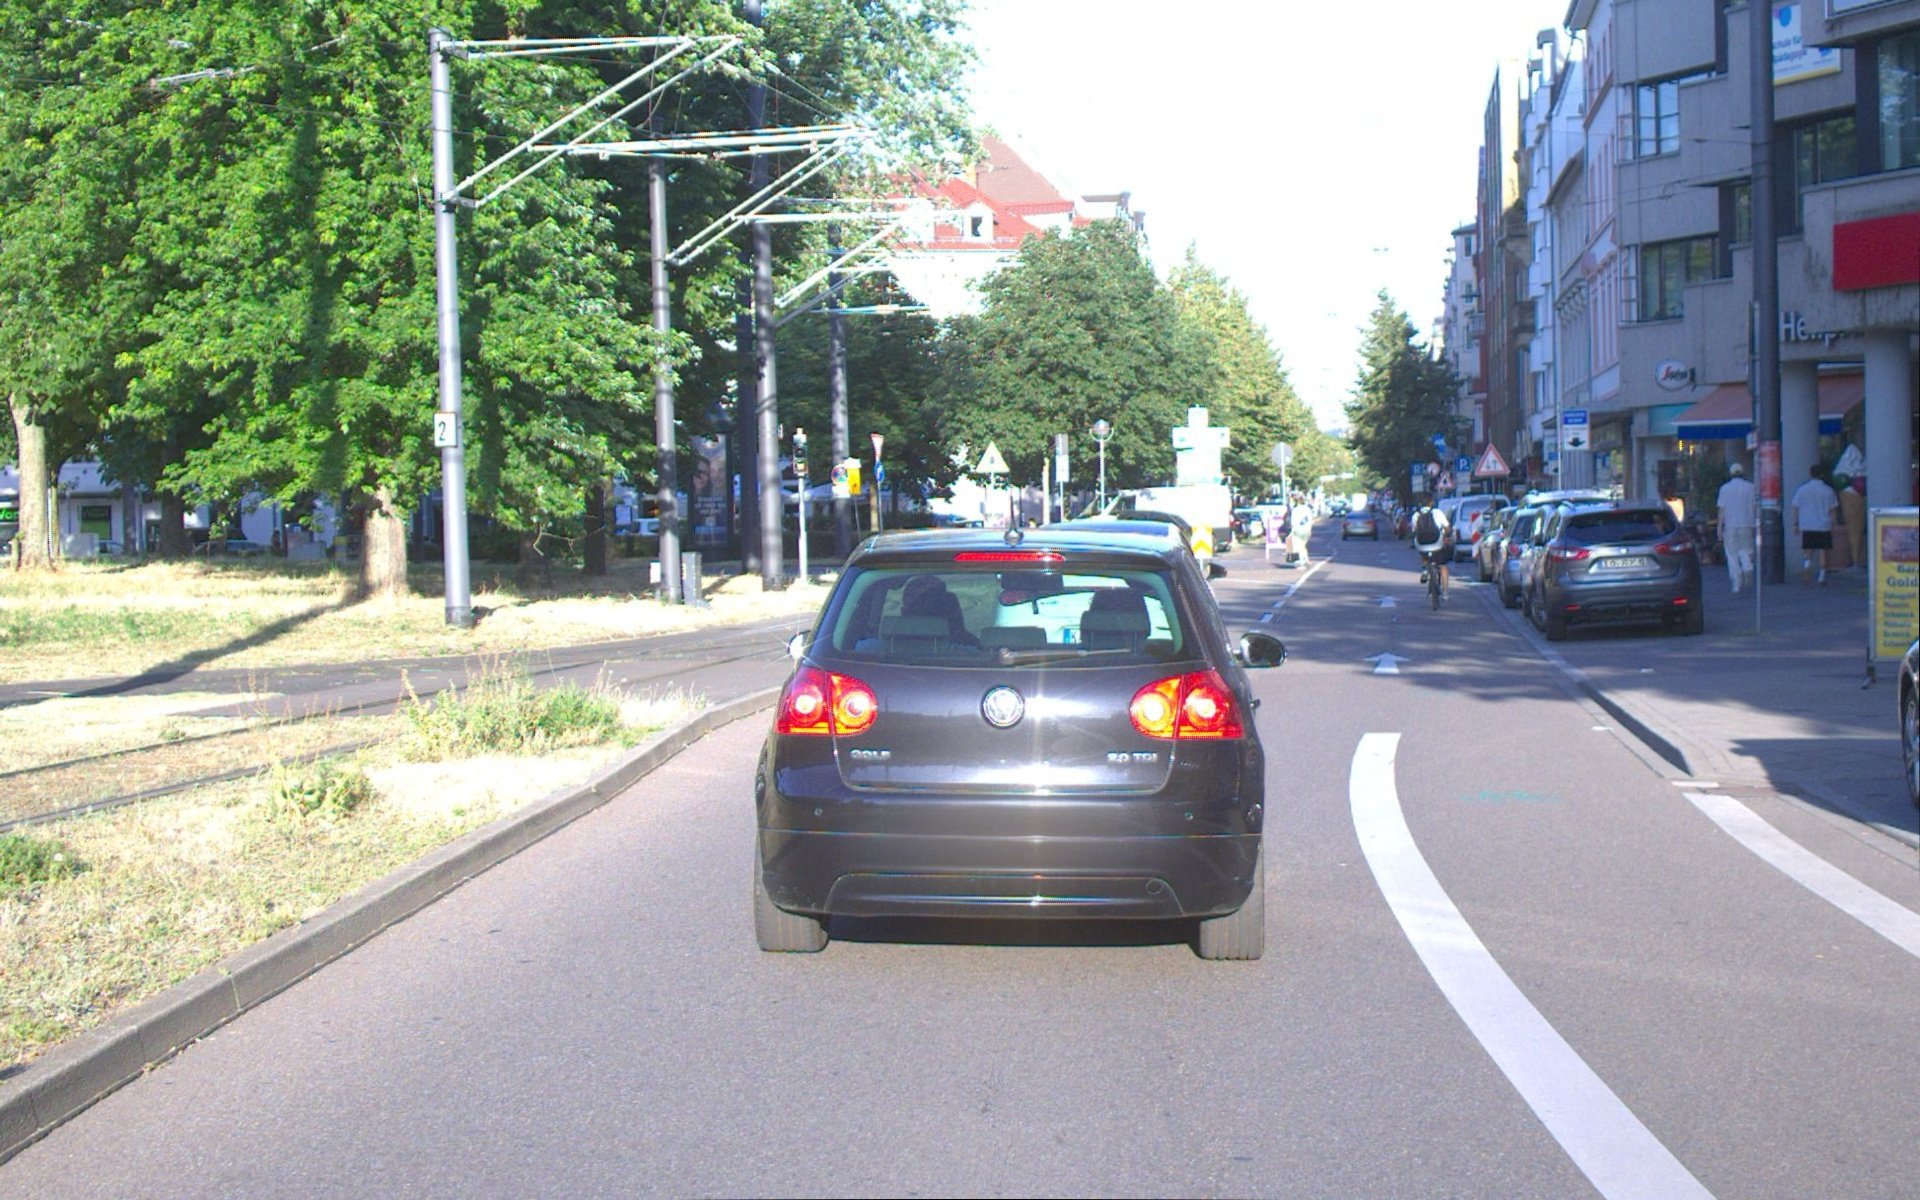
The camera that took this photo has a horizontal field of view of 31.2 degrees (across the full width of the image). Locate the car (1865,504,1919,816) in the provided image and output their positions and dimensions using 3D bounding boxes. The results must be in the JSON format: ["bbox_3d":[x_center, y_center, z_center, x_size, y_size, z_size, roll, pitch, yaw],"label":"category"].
[{"bbox_3d":[5.284,0.269,15.359,1.728,1.467,3.898,-3,1,6],"label":"car"}]

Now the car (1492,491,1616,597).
[{"bbox_3d":[8.845,-0.865,51.397,1.662,1.436,3.854,-3,1,9],"label":"car"}]

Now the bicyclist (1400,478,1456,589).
[{"bbox_3d":[6.856,-0.980,50.417,0.777,1.612,1.025,0,1,6],"label":"bicyclist"}]

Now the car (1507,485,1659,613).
[{"bbox_3d":[8.249,-0.704,45.731,1.607,1.551,3.610,-3,1,6],"label":"car"}]

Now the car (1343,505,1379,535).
[{"bbox_3d":[21.638,-4.328,185.567,1.907,1.546,4.000,-1,2,6],"label":"car"}]

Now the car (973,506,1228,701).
[{"bbox_3d":[1.260,-0.026,28.952,1.865,1.436,4.196,-1,2,6],"label":"car"}]

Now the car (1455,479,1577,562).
[{"bbox_3d":[10.464,-1.502,64.954,1.662,1.436,3.823,-3,1,1],"label":"car"}]

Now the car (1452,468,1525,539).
[{"bbox_3d":[14.285,-2.602,93.110,1.735,1.794,3.916,-2,1,7],"label":"car"}]

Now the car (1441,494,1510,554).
[{"bbox_3d":[14.691,-2.176,98.118,1.735,1.611,3.916,-2,1,7],"label":"car"}]

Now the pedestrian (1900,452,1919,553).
[{"bbox_3d":[16.270,-1.635,57.379,0.989,1.667,0.641,-2,1,8],"label":"pedestrian"}]

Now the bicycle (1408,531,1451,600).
[{"bbox_3d":[6.893,-0.520,50.504,0.579,0.984,1.935,0,1,6],"label":"bicycle"}]

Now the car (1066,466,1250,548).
[{"bbox_3d":[6.435,-3.020,111.748,5.510,2.585,2.155,-1,1,-19],"label":"car"}]

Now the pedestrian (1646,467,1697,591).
[{"bbox_3d":[10.323,-1.033,49.913,0.579,1.754,0.661,-4,1,8],"label":"pedestrian"}]

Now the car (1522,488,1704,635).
[{"bbox_3d":[7.682,-0.498,40.734,1.782,1.551,4.233,-3,1,7],"label":"car"}]

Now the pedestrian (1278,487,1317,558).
[{"bbox_3d":[8.111,-1.869,82.704,0.859,1.700,0.941,0,1,1],"label":"pedestrian"}]

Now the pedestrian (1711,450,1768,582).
[{"bbox_3d":[11.221,-1.204,49.502,0.622,1.851,0.661,-4,1,8],"label":"pedestrian"}]

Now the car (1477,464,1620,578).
[{"bbox_3d":[9.755,-1.328,57.235,1.867,1.708,4.505,-3,1,5],"label":"car"}]

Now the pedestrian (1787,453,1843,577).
[{"bbox_3d":[12.327,-1.223,49.581,0.622,1.734,0.661,-4,1,8],"label":"pedestrian"}]

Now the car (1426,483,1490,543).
[{"bbox_3d":[16.024,-2.803,110.794,1.926,1.835,4.016,-2,1,8],"label":"car"}]

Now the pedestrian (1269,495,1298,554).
[{"bbox_3d":[8.546,-1.988,90.808,0.736,1.549,0.632,-1,1,3],"label":"pedestrian"}]

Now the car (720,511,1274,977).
[{"bbox_3d":[0.299,0.408,12.937,1.748,1.456,4.103,0,2,5],"label":"car"}]
